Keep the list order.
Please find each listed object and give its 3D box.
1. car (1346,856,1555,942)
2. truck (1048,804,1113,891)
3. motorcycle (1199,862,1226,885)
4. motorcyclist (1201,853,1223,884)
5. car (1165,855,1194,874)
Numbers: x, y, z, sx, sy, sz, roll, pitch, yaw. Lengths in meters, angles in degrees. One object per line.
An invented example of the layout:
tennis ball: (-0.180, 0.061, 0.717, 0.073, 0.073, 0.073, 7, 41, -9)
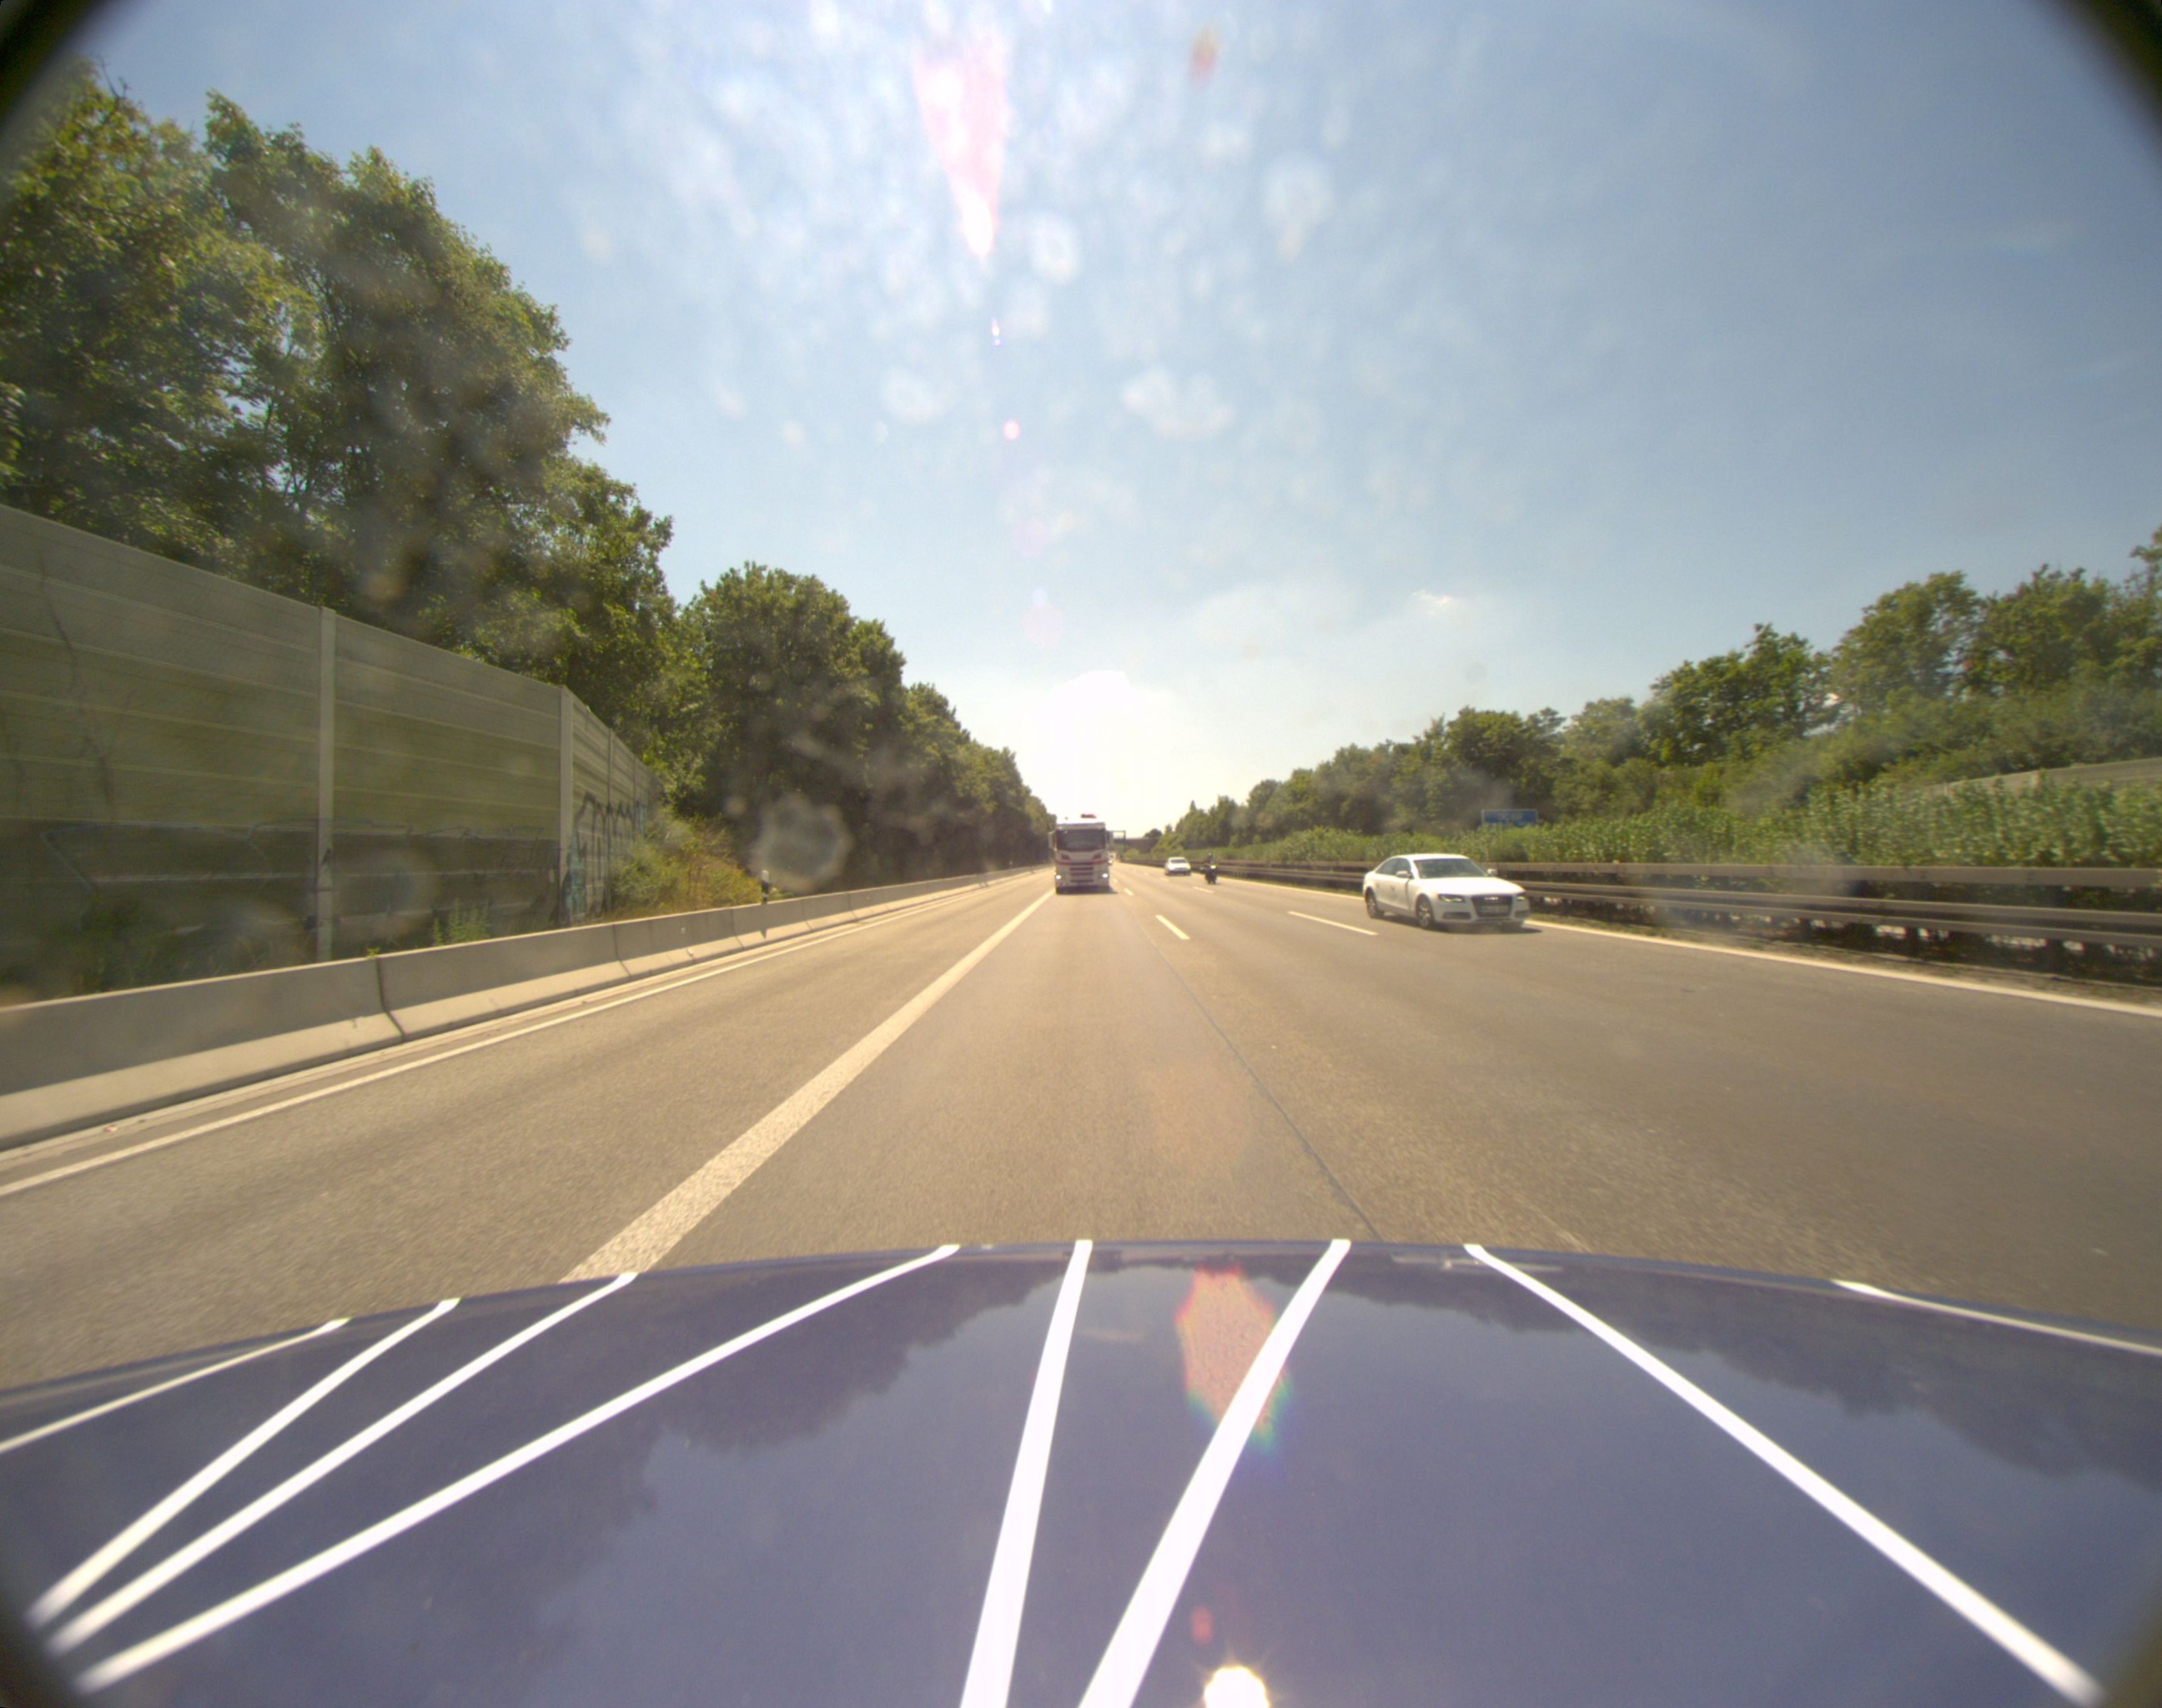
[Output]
car: (7.341, 0.802, 15.836, 1.881, 1.432, 5.126, -2, 0, 1)
truck: (0.080, -0.225, 39.720, 2.721, 3.779, 10.674, -3, -1, 1)
motorcycle: (7.123, 1.026, 41.313, 0.915, 1.082, 2.849, -3, 1, 1)
motorcyclist: (7.103, 0.777, 41.338, 0.895, 1.588, 1.299, -3, 1, 1)
car: (7.860, 0.809, 60.981, 1.786, 1.432, 4.669, -2, 0, 1)
